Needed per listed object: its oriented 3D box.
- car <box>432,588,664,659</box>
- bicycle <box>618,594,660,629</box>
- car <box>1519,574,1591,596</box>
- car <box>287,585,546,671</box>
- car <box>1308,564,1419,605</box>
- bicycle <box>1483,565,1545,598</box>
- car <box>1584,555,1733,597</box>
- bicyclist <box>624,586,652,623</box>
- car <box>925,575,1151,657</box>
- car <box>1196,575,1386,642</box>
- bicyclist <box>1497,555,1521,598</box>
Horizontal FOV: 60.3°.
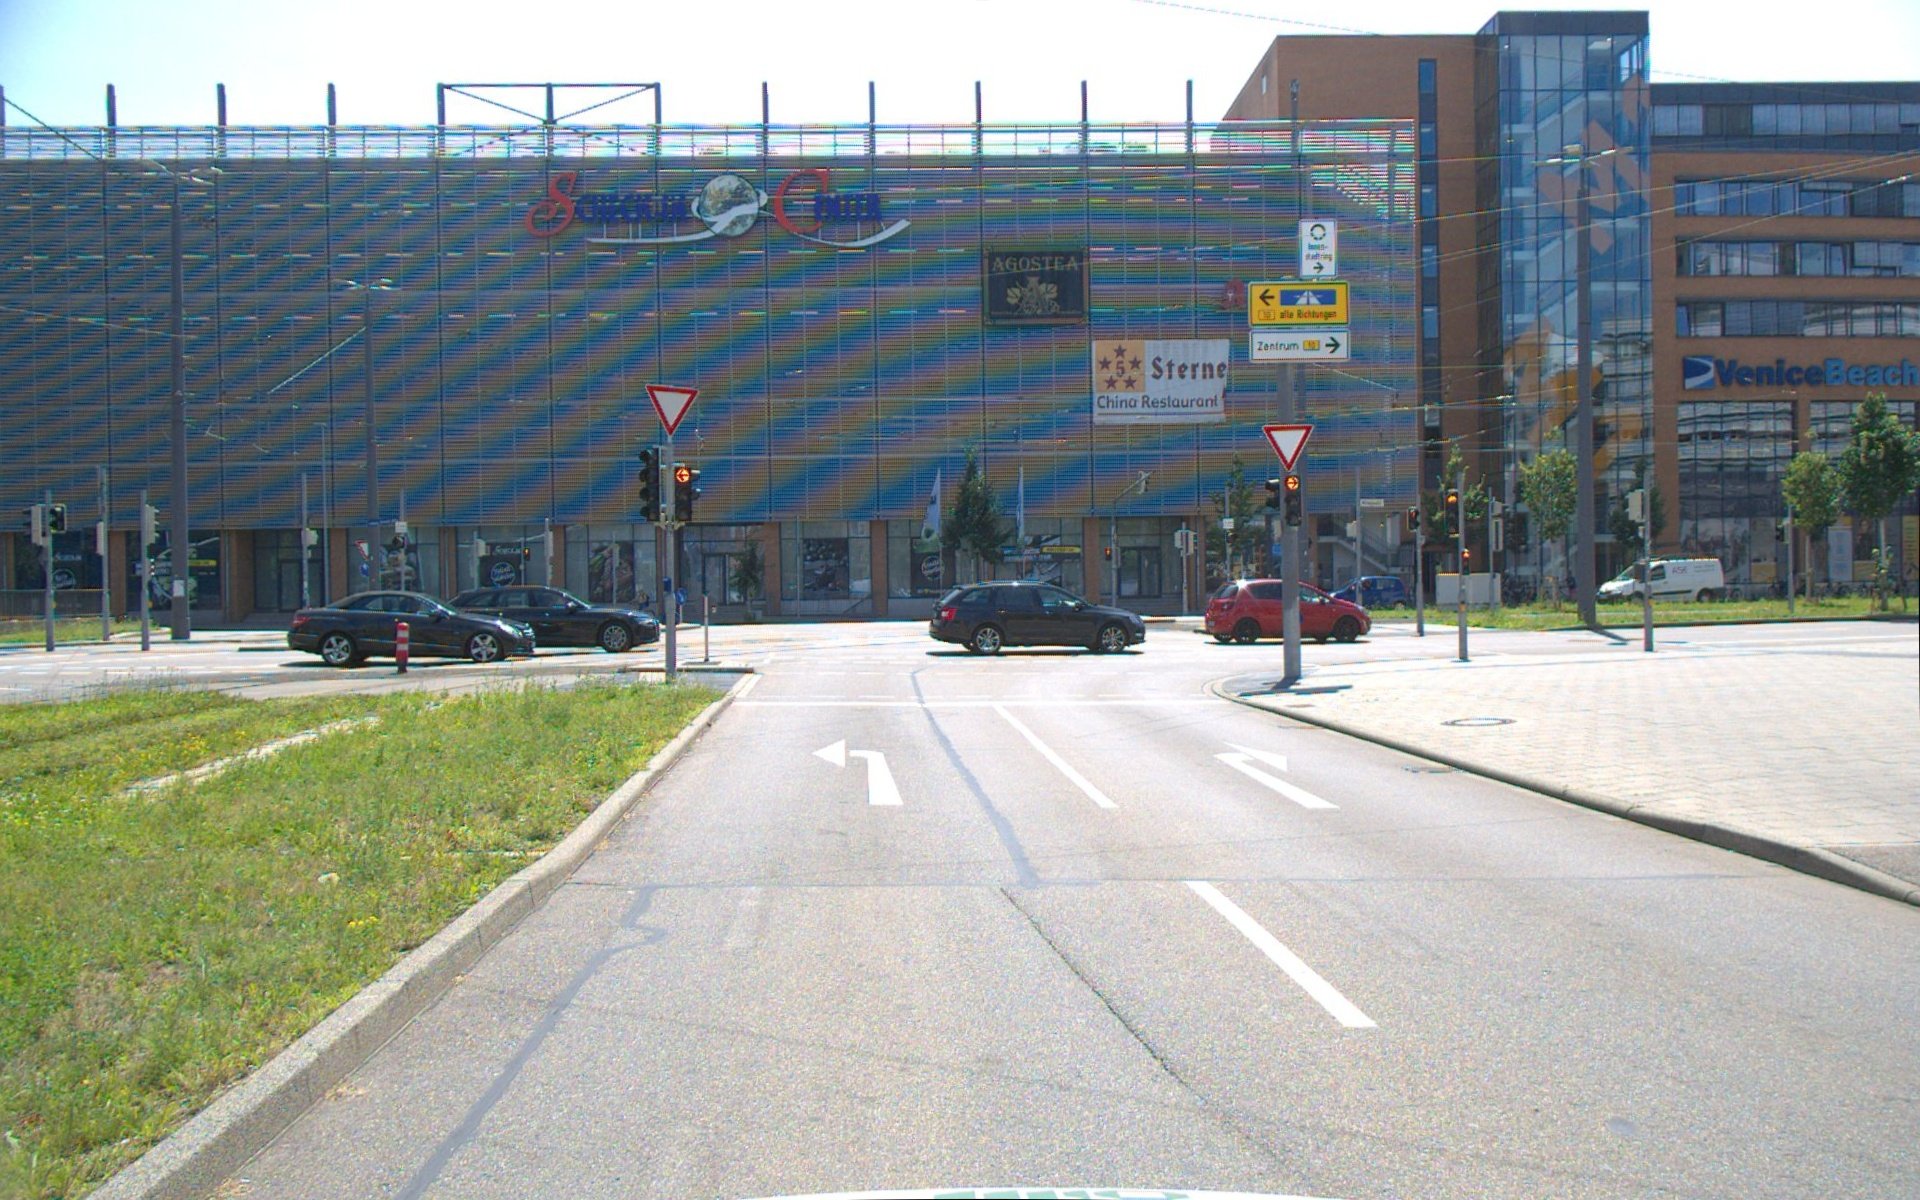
[{"bbox_3d":[-8.909,0.483,36.095,4.672,1.486,1.886,0,1,-6],"label":"car"},{"bbox_3d":[-13.915,0.493,71.826,1.039,1.414,3.026,0,1,4],"label":"bicycle"},{"bbox_3d":[28.173,-0.716,78.359,2.935,1.053,1.348,0,1,-6],"label":"car"},{"bbox_3d":[-10.530,0.518,32.344,4.461,1.604,1.998,0,1,-6],"label":"car"},{"bbox_3d":[15.929,-0.627,65.378,3.909,1.565,1.879,0,1,-5],"label":"car"},{"bbox_3d":[26.751,-0.908,79.872,2.791,1.584,0.704,0,1,-1],"label":"bicycle"},{"bbox_3d":[28.453,-0.984,67.422,5.361,1.697,1.996,0,1,-9],"label":"car"},{"bbox_3d":[-13.930,0.199,71.598,1.018,1.599,0.778,0,1,4],"label":"bicyclist"},{"bbox_3d":[1.603,0.304,34.705,4.443,1.534,1.838,-1,1,-10],"label":"car"},{"bbox_3d":[7.786,0.172,39.123,4.047,1.534,1.840,0,1,-7],"label":"car"},{"bbox_3d":[26.503,-1.148,79.834,0.893,2.049,0.748,0,1,-1],"label":"bicyclist"}]
